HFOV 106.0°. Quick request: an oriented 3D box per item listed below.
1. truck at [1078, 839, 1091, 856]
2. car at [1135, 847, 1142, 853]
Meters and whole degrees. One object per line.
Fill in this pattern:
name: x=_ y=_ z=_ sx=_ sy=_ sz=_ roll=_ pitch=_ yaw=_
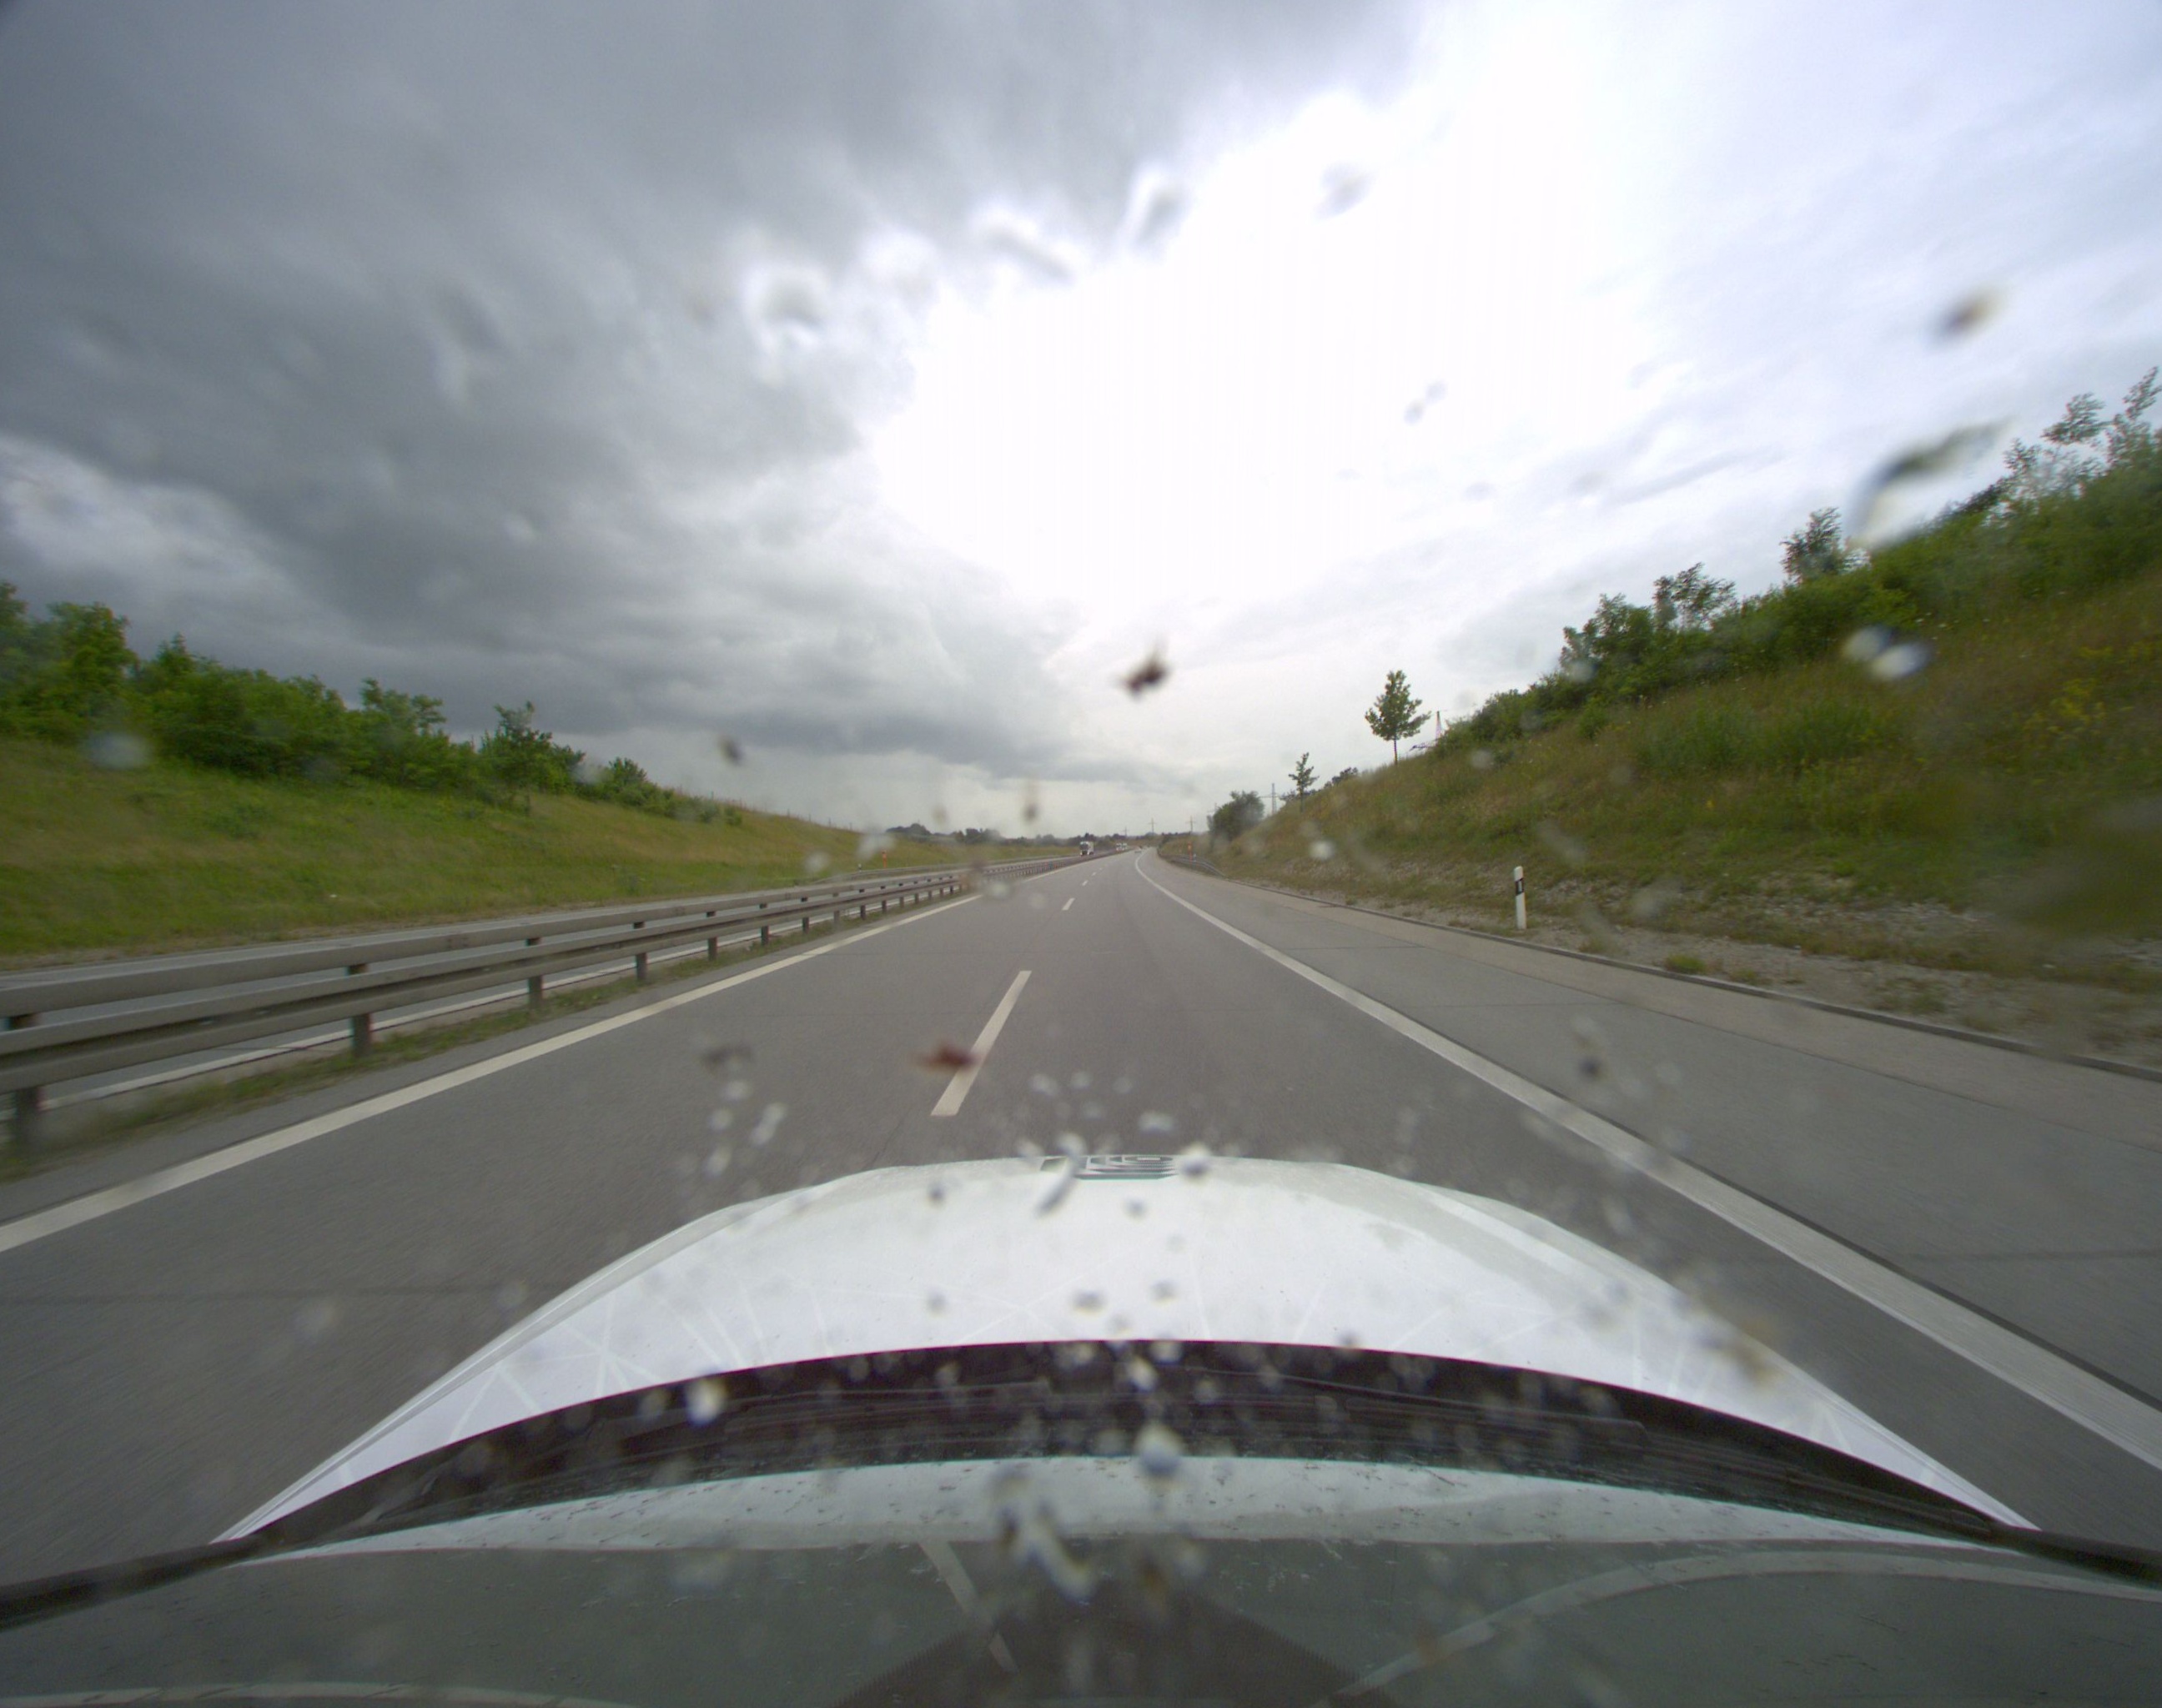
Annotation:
truck: x=1.030 y=-1.880 z=226.293 sx=2.783 sy=4.647 sz=6.928 roll=-2 pitch=0 yaw=4
car: x=17.633 y=-1.217 z=249.088 sx=1.945 sy=1.651 sz=4.009 roll=-2 pitch=-1 yaw=8
